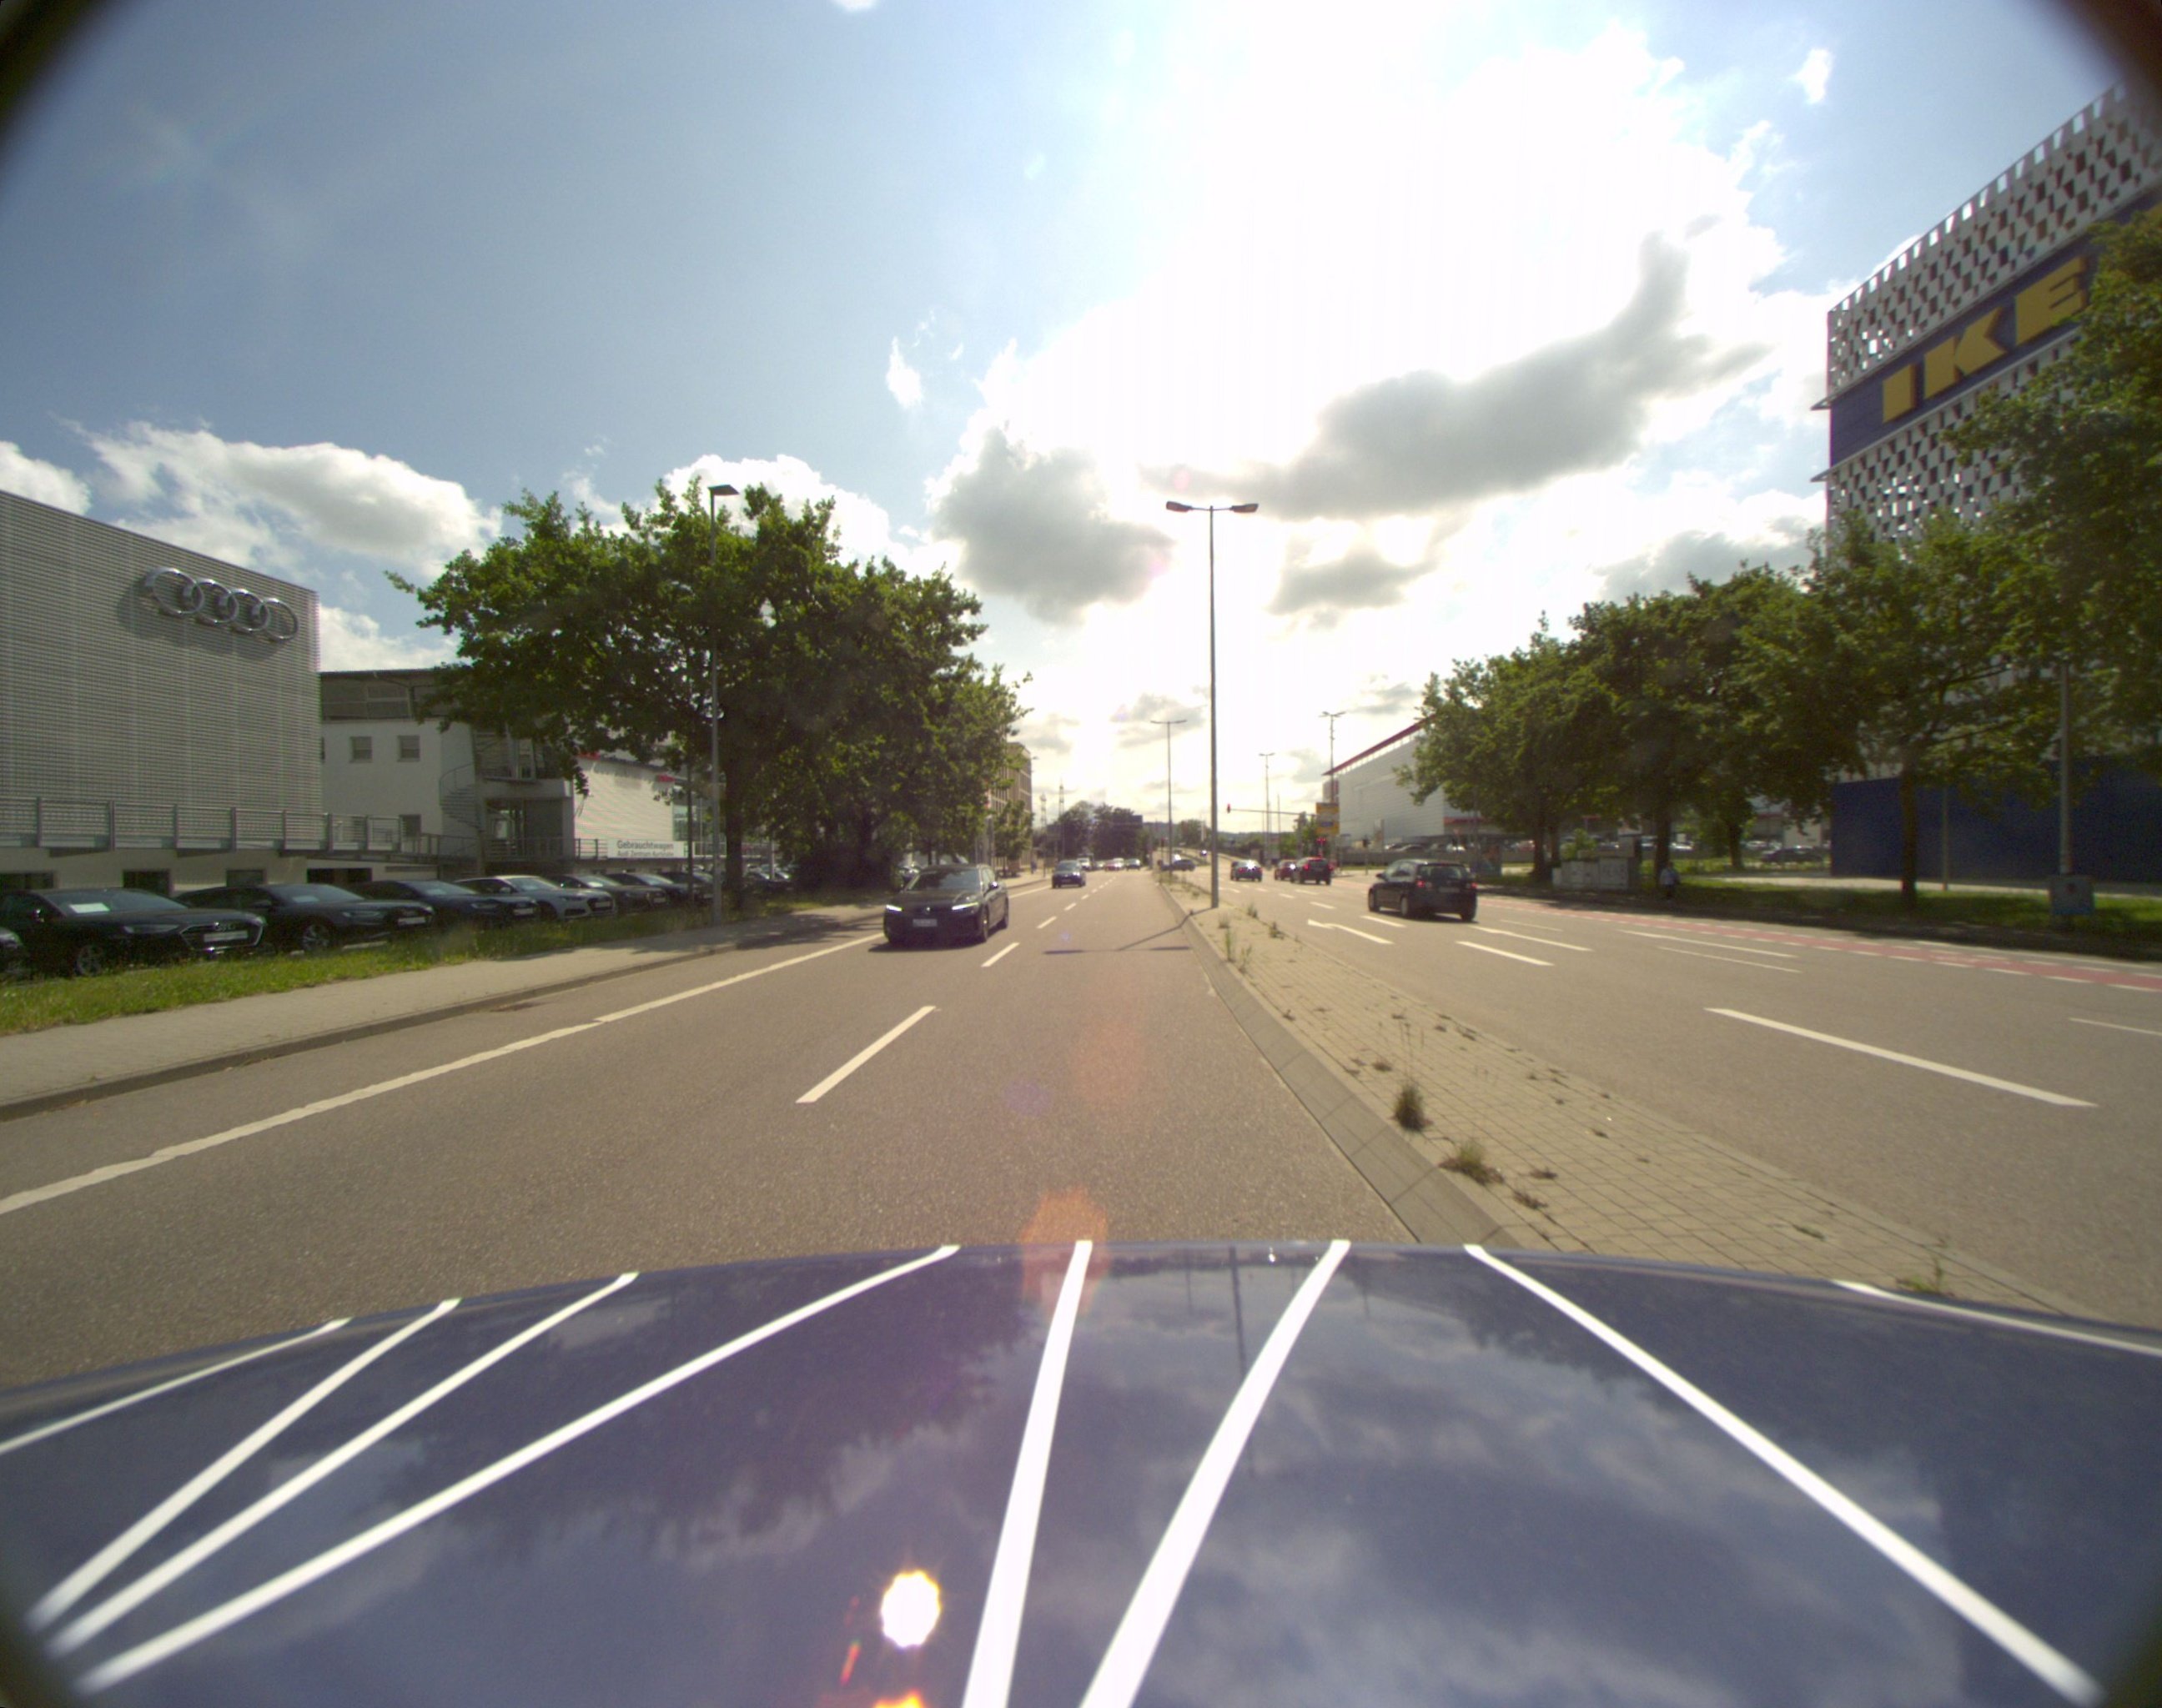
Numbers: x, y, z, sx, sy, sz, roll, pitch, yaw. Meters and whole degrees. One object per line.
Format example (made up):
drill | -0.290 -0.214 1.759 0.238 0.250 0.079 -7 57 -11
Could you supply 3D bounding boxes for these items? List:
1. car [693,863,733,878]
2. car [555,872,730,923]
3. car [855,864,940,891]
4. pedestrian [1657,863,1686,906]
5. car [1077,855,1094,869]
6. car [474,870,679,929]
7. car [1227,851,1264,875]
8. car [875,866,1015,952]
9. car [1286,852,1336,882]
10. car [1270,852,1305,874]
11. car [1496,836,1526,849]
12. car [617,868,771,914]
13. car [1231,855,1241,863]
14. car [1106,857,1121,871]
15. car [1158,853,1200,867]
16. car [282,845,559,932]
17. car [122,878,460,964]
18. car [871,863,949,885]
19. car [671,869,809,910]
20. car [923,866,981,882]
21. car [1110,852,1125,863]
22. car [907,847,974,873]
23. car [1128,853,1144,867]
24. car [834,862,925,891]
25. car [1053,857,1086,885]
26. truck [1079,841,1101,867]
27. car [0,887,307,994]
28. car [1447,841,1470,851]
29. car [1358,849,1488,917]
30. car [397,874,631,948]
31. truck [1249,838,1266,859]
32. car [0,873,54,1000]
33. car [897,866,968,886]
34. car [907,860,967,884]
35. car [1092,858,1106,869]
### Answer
car | -41.419 1.883 85.707 1.905 1.667 4.593 -2 -2 6
car | -14.140 1.387 24.653 4.584 1.490 1.908 -1 0 4
car | -11.211 1.445 46.604 4.585 1.289 1.908 -5 -2 4
pedestrian | 21.738 1.120 27.984 0.503 1.546 0.761 -1 1 5
car | 0.653 1.088 101.025 1.998 1.826 4.995 -2 -2 2
car | -14.190 1.265 21.522 4.585 1.490 1.908 -1 0 4
car | 11.257 0.582 52.216 1.777 1.539 4.822 2 0 4
car | -2.600 1.013 15.856 1.812 1.469 5.205 -1 -1 2
car | 14.531 0.794 48.183 1.932 1.745 4.822 2 0 4
car | 14.912 0.610 55.136 1.689 1.474 4.127 1 0 5
car | 66.175 -1.736 116.908 1.916 1.739 4.188 -2 -2 -5
car | -13.841 1.310 27.342 4.584 1.490 1.908 -1 0 4
car | 30.523 0.935 149.343 1.777 1.469 4.683 -1 -1 10
car | 4.329 1.349 100.834 1.826 1.616 4.214 -2 -2 2
car | 10.599 0.651 82.091 4.274 1.521 1.605 -1 0 -21
car | -14.388 0.751 16.706 4.585 1.668 1.908 -2 -1 4
car | -14.631 1.207 14.234 4.585 1.396 1.908 -2 -2 4
car | -11.105 1.319 49.513 4.585 1.289 1.908 -2 -2 4
car | -13.374 1.380 29.940 4.584 1.490 1.908 -1 0 4
car | -11.086 1.734 65.536 4.585 1.289 1.908 -2 -2 4
car | 5.443 0.532 112.460 1.826 1.616 4.215 -2 -2 6
car | -15.544 0.711 84.191 6.852 2.591 2.142 -2 -1 11
car | 7.306 0.818 101.181 1.826 1.616 4.214 -2 -2 2
car | -11.500 1.270 43.536 4.585 1.375 1.908 -3 -2 4
car | -0.631 0.970 43.597 1.606 1.521 4.271 -1 -1 2
truck | 1.377 0.088 110.075 2.673 3.533 9.788 -2 -2 2
car | -14.911 1.281 11.535 4.585 1.396 1.908 -2 -2 4
car | 62.206 -1.285 125.190 1.952 1.462 4.426 -1 -1 6
car | 9.212 0.707 20.872 1.742 1.600 4.242 3 0 2
car | -14.207 1.400 19.180 4.585 1.668 1.908 -2 -1 4
truck | 36.678 -0.986 157.833 3.217 4.002 9.082 -2 -2 14
car | -15.101 1.216 8.748 4.357 1.503 1.787 -7 -2 4
car | -10.615 1.572 54.515 4.585 1.289 1.908 -2 -2 4
car | -10.776 1.321 57.022 3.996 1.455 1.796 -4 0 4
car | 3.014 1.561 126.073 1.826 1.616 4.215 -2 -2 6
